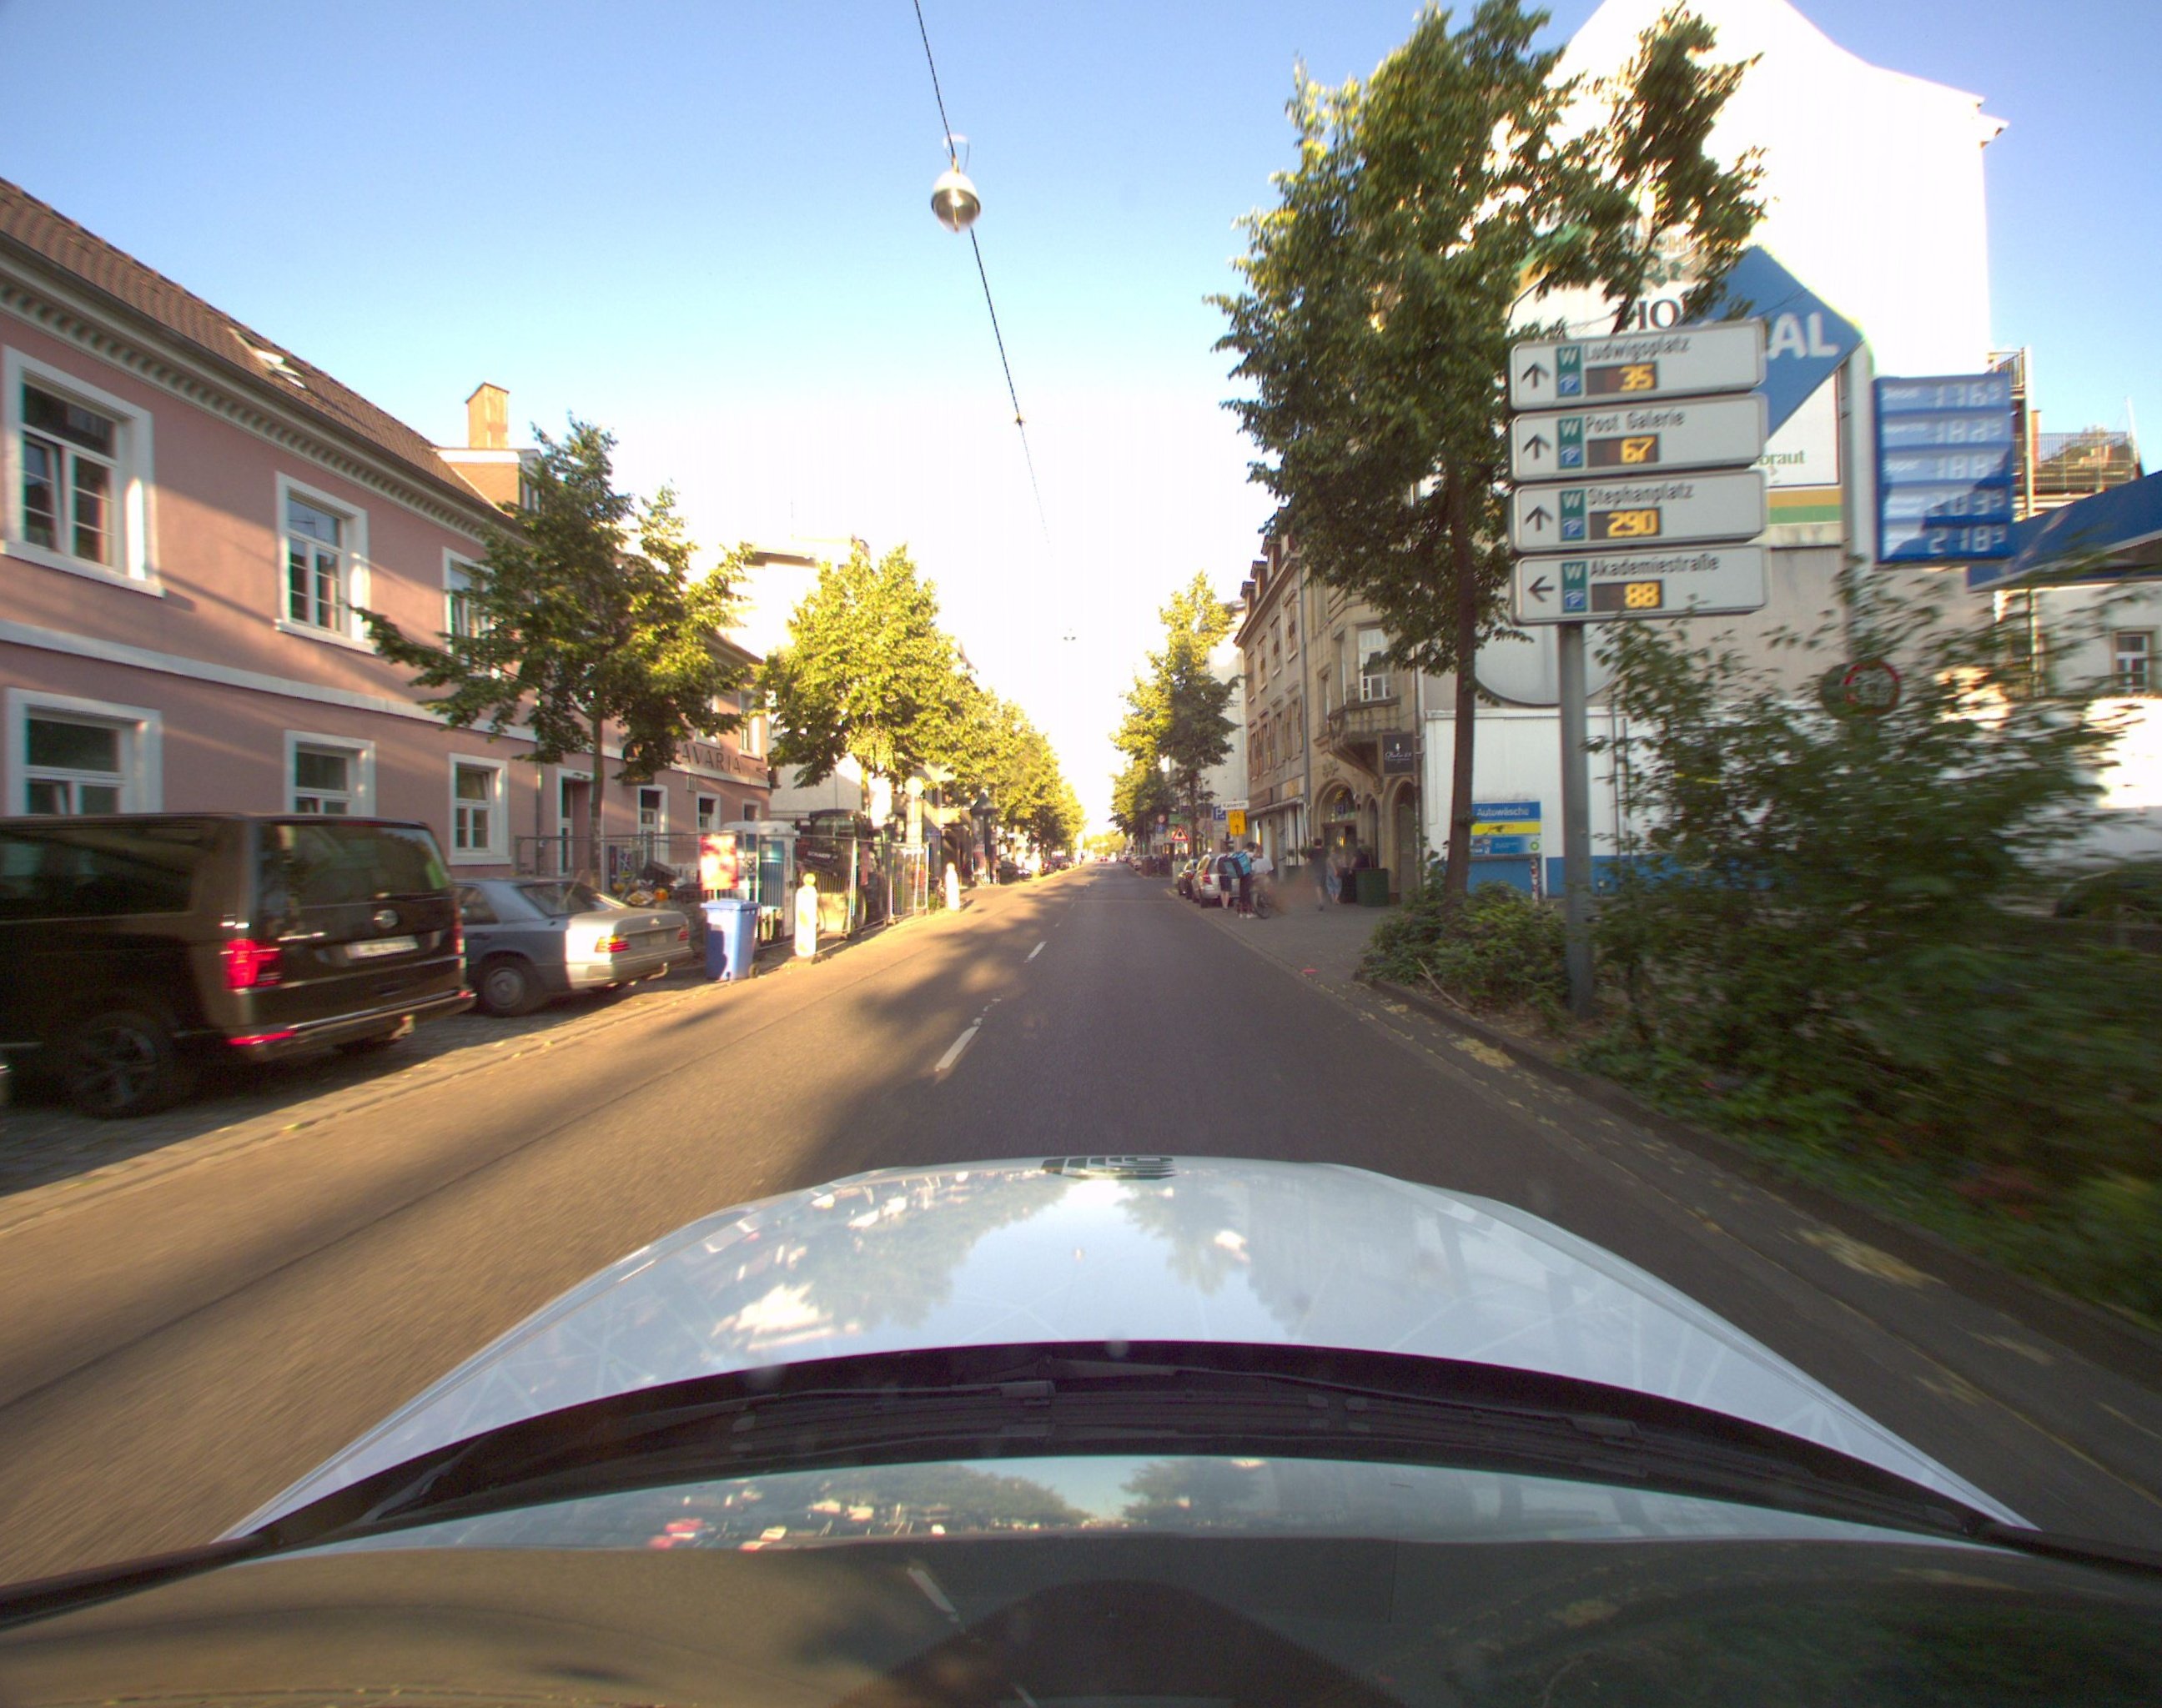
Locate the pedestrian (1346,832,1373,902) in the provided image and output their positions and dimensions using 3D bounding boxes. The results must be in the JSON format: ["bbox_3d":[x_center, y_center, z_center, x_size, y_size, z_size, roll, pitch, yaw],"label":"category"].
[{"bbox_3d":[7.693,0.356,22.511,0.460,1.875,0.499,-2,0,-13],"label":"pedestrian"}]

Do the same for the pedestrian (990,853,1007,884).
[{"bbox_3d":[-4.677,0.813,45.966,0.706,1.686,0.836,-1,0,11],"label":"pedestrian"}]

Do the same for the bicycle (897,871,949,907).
[{"bbox_3d":[-5.083,1.131,26.225,1.554,1.116,0.440,2,-2,-31],"label":"bicycle"}]

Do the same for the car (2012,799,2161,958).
[{"bbox_3d":[10.540,0.159,6.035,1.728,1.431,4.910,-3,-1,2],"label":"car"}]

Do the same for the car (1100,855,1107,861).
[{"bbox_3d":[6.212,1.145,221.014,1.745,1.540,3.306,-2,-1,3],"label":"car"}]

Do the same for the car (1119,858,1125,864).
[{"bbox_3d":[10.114,1.774,202.336,1.507,1.298,3.306,-1,-1,3],"label":"car"}]

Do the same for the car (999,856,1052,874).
[{"bbox_3d":[-4.832,0.959,71.337,4.424,1.506,1.846,-1,-1,2],"label":"car"}]

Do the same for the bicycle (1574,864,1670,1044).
[{"bbox_3d":[4.171,0.695,6.321,0.478,1.143,1.691,-4,-1,32],"label":"bicycle"}]

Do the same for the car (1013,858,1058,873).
[{"bbox_3d":[-4.618,1.167,83.233,4.424,1.568,1.920,-1,-1,2],"label":"car"}]

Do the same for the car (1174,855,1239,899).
[{"bbox_3d":[4.534,0.789,30.073,1.778,1.375,4.525,-4,0,2],"label":"car"}]

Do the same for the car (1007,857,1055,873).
[{"bbox_3d":[-4.750,1.067,78.246,4.424,1.458,1.860,-1,-1,2],"label":"car"}]

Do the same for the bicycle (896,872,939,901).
[{"bbox_3d":[-5.938,1.181,29.607,1.484,1.059,0.470,0,-1,-5],"label":"bicycle"}]

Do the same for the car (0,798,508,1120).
[{"bbox_3d":[-7.178,0.653,6.005,4.469,1.976,1.965,0,0,0],"label":"car"}]

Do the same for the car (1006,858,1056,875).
[{"bbox_3d":[-4.622,1.166,75.934,4.424,1.484,1.810,-1,-1,2],"label":"car"}]

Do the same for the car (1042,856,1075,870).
[{"bbox_3d":[-3.093,1.243,111.826,4.424,1.759,1.920,-1,-1,2],"label":"car"}]

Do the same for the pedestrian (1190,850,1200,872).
[{"bbox_3d":[8.983,0.559,63.943,0.626,1.680,0.895,-1,0,16],"label":"pedestrian"}]

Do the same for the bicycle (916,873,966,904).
[{"bbox_3d":[-5.001,1.222,29.018,1.672,1.021,0.445,1,-1,9],"label":"bicycle"}]

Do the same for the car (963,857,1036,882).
[{"bbox_3d":[-5.284,1.002,53.267,4.530,1.541,1.811,-1,-1,0],"label":"car"}]

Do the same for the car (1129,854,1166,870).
[{"bbox_3d":[6.694,0.802,81.774,1.654,1.588,3.846,-1,0,45],"label":"car"}]

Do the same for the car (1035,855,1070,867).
[{"bbox_3d":[-3.674,0.941,105.338,4.424,1.523,1.920,-1,-1,2],"label":"car"}]

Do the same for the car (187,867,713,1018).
[{"bbox_3d":[-6.887,0.919,9.206,4.573,1.470,1.895,-1,0,4],"label":"car"}]

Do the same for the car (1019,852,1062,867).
[{"bbox_3d":[-4.375,0.561,87.952,4.424,1.568,1.920,-1,-1,2],"label":"car"}]

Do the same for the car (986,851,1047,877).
[{"bbox_3d":[-5.026,0.800,63.639,4.554,1.962,1.991,-1,-1,1],"label":"car"}]

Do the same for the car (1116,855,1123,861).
[{"bbox_3d":[10.050,1.094,213.669,1.745,1.540,3.306,-2,-1,3],"label":"car"}]

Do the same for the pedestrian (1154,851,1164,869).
[{"bbox_3d":[8.262,0.612,86.530,0.916,1.926,1.015,0,0,-8],"label":"pedestrian"}]

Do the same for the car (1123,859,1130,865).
[{"bbox_3d":[9.984,1.690,179.578,1.507,1.263,3.306,-1,-1,3],"label":"car"}]

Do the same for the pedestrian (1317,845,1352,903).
[{"bbox_3d":[7.065,0.542,22.724,0.656,1.562,0.702,-4,0,2],"label":"pedestrian"}]

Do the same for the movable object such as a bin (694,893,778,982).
[{"bbox_3d":[-4.684,1.120,11.112,0.687,1.105,0.884,-2,0,4],"label":"movable object such as a bin"}]

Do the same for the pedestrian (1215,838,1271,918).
[{"bbox_3d":[3.881,0.573,19.598,1.013,1.825,0.778,-4,0,-8],"label":"pedestrian"}]

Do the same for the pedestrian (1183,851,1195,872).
[{"bbox_3d":[8.372,0.585,62.976,0.791,1.625,0.916,-1,0,14],"label":"pedestrian"}]

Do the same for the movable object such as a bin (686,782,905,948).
[{"bbox_3d":[-5.759,0.204,17.436,2.615,2.969,5.306,-1,0,2],"label":"movable object such as a bin"}]

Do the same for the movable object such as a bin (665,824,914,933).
[{"bbox_3d":[-7.547,0.545,21.604,5.788,2.495,2.285,-1,0,-45],"label":"movable object such as a bin"}]

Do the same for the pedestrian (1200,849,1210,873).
[{"bbox_3d":[8.678,0.496,56.958,0.565,1.599,0.664,-3,1,2],"label":"pedestrian"}]

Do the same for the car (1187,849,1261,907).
[{"bbox_3d":[4.369,0.694,25.416,1.680,1.575,4.015,-4,0,2],"label":"car"}]

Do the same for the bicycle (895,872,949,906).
[{"bbox_3d":[-5.295,1.167,27.122,1.676,1.079,0.444,1,-1,1],"label":"bicycle"}]

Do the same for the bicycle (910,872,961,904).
[{"bbox_3d":[-5.057,1.174,28.294,1.672,1.079,0.445,1,-1,9],"label":"bicycle"}]

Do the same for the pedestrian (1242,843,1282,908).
[{"bbox_3d":[4.848,0.580,21.822,0.657,1.700,0.660,-3,-1,-42],"label":"pedestrian"}]

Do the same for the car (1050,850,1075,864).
[{"bbox_3d":[-3.398,0.613,149.325,4.424,2.435,1.920,-1,-1,2],"label":"car"}]

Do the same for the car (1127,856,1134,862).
[{"bbox_3d":[9.824,1.001,161.452,1.507,1.276,3.306,-1,-1,3],"label":"car"}]

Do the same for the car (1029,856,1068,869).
[{"bbox_3d":[-3.756,0.927,94.458,4.424,1.449,1.920,-1,-1,2],"label":"car"}]

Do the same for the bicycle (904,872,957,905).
[{"bbox_3d":[-5.114,1.179,27.709,1.672,1.079,0.445,1,-1,9],"label":"bicycle"}]

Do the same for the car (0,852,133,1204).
[{"bbox_3d":[-7.107,0.824,3.440,4.113,1.637,1.861,0,0,2],"label":"car"}]

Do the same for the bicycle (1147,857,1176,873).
[{"bbox_3d":[5.643,0.799,57.112,1.935,1.074,0.710,-1,0,33],"label":"bicycle"}]

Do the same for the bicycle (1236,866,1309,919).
[{"bbox_3d":[4.621,0.905,19.550,0.856,1.098,1.939,-3,0,41],"label":"bicycle"}]

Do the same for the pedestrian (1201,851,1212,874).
[{"bbox_3d":[8.662,0.572,56.193,0.565,1.584,0.664,-3,1,2],"label":"pedestrian"}]

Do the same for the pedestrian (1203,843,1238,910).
[{"bbox_3d":[3.787,0.606,22.143,0.677,1.754,0.823,-2,-1,-8],"label":"pedestrian"}]

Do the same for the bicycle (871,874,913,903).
[{"bbox_3d":[-6.536,1.197,28.197,1.318,0.980,0.445,0,-1,5],"label":"bicycle"}]

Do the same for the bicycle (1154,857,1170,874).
[{"bbox_3d":[5.846,0.819,58.568,0.592,1.178,1.856,-1,0,22],"label":"bicycle"}]

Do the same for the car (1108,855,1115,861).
[{"bbox_3d":[8.074,1.147,213.922,1.714,1.475,3.306,-2,-1,3],"label":"car"}]

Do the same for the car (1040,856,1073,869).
[{"bbox_3d":[-3.255,1.147,109.728,4.286,1.598,1.920,-1,-1,2],"label":"car"}]

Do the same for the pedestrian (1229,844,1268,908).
[{"bbox_3d":[4.644,0.594,22.563,0.678,1.706,0.822,-4,0,-13],"label":"pedestrian"}]

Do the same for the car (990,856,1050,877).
[{"bbox_3d":[-4.928,1.002,66.284,4.553,1.698,2.061,-1,-1,2],"label":"car"}]

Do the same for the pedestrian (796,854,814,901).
[{"bbox_3d":[-10.373,0.894,30.579,0.504,1.737,0.719,-1,-2,-8],"label":"pedestrian"}]

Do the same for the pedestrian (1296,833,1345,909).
[{"bbox_3d":[6.161,0.428,21.014,0.820,1.854,1.097,-4,0,0],"label":"pedestrian"}]
